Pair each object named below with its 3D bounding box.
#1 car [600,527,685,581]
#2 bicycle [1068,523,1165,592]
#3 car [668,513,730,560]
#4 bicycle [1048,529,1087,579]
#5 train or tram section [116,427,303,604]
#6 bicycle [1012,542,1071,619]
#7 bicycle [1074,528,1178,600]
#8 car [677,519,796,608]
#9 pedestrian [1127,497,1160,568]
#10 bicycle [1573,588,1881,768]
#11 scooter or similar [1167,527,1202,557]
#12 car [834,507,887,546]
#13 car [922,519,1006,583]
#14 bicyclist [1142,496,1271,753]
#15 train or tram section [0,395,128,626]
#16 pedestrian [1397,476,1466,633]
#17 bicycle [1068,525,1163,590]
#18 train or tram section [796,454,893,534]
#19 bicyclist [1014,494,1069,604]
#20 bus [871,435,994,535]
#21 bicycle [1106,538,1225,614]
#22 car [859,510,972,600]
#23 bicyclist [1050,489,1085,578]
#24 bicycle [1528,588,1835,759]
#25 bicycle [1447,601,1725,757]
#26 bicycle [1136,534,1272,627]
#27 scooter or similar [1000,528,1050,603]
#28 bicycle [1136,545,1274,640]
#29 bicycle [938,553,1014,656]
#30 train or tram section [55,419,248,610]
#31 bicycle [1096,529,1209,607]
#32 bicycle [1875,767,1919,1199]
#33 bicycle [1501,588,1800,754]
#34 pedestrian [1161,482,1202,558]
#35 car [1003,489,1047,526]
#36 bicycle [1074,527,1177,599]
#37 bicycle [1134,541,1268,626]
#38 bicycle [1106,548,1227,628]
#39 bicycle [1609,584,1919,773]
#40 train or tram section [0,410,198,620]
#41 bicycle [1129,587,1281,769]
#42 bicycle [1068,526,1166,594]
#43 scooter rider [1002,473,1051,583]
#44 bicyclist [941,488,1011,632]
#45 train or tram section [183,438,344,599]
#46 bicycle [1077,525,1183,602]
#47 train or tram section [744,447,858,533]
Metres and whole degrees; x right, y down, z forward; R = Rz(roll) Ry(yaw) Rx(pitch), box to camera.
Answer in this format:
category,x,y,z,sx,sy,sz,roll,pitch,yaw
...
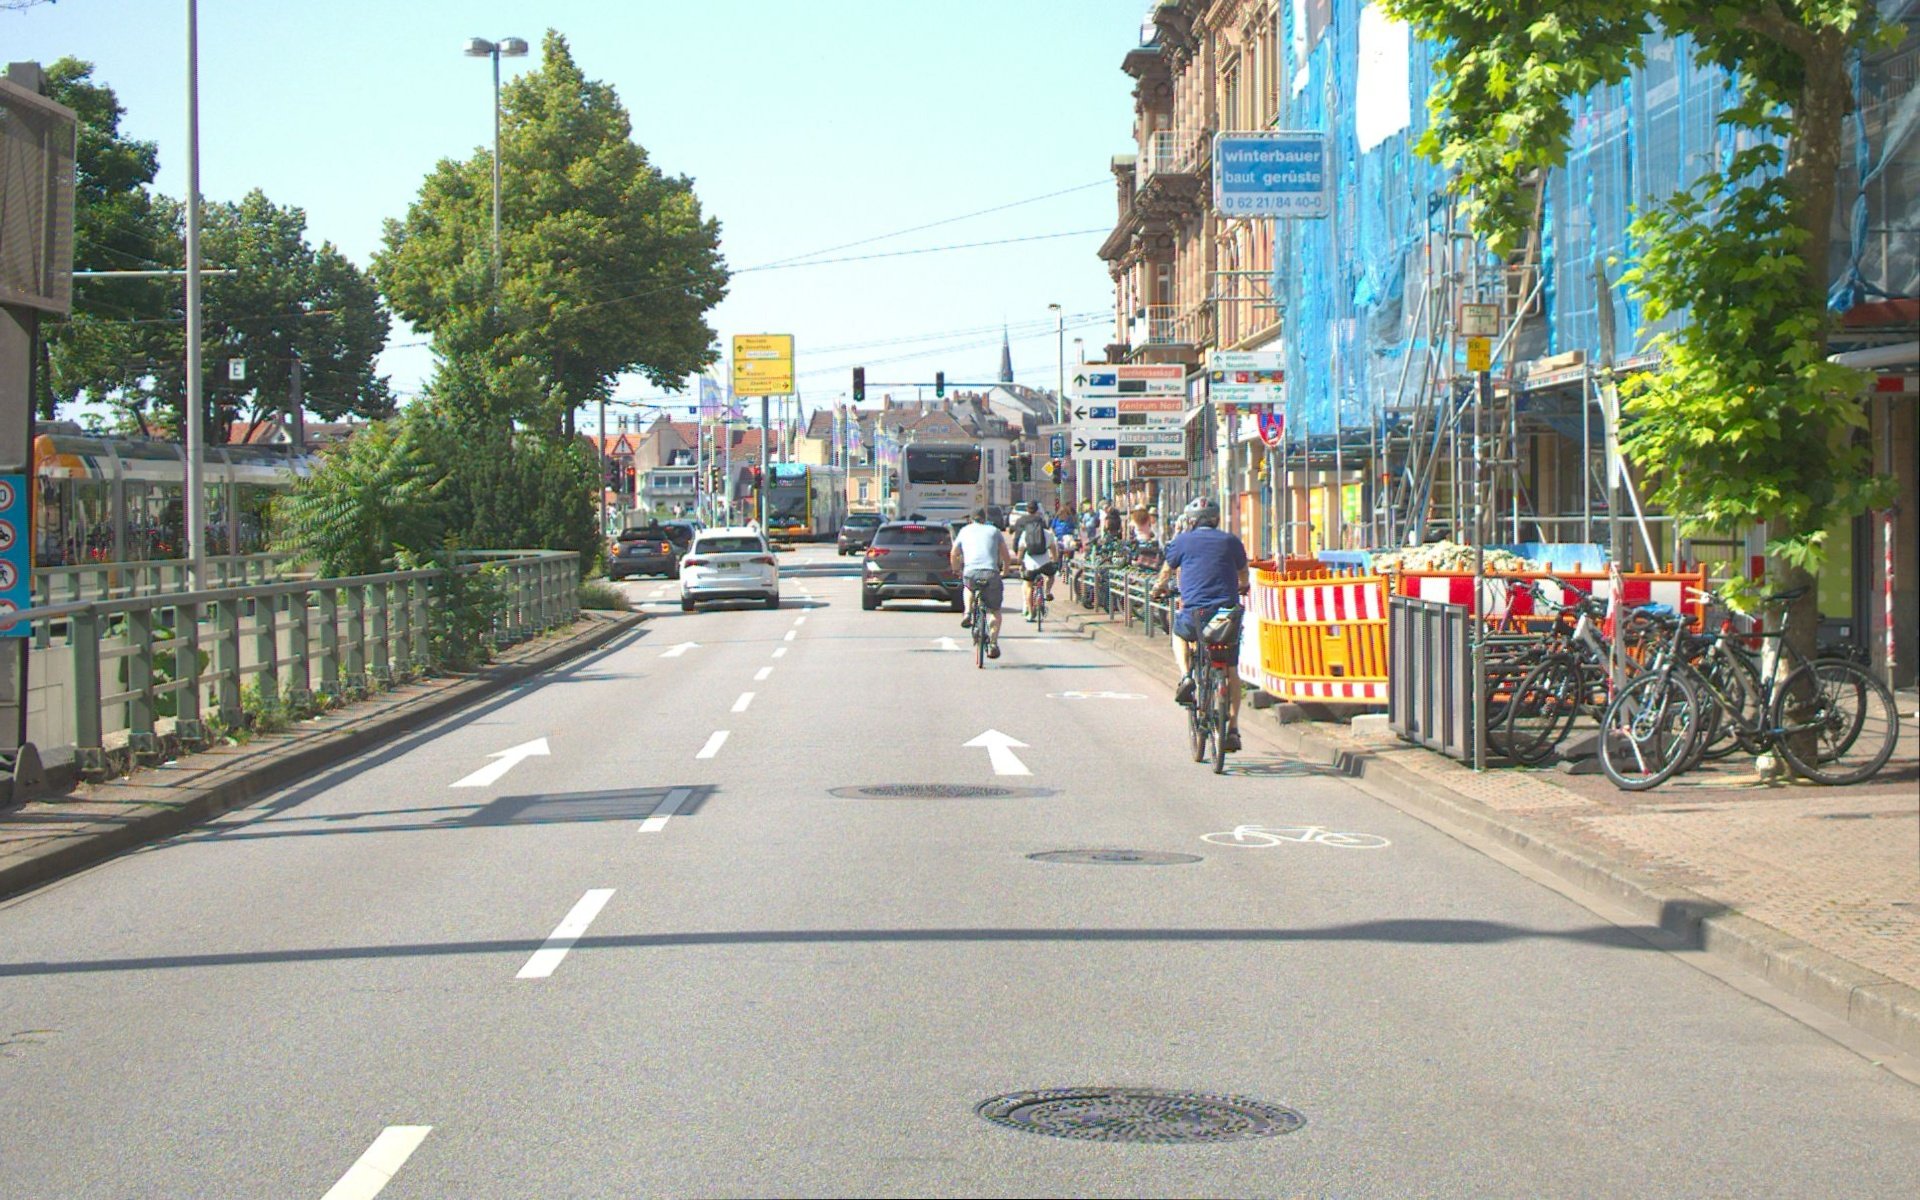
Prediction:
category,x,y,z,sx,sy,sz,roll,pitch,yaw
car,-8.208,-1.203,89.221,1.815,1.327,4.000,2,1,0
bicycle,2.830,-0.767,62.298,1.693,1.174,0.609,-2,2,0
car,-7.472,-1.816,98.649,1.451,1.296,4.000,2,1,0
bicycle,2.408,-1.029,76.973,0.734,1.089,1.898,2,1,-1
train or tram section,-16.152,-1.806,74.455,2.613,3.569,6.899,2,1,-1
bicycle,1.192,-0.300,50.345,0.734,1.089,1.898,2,1,-2
bicycle,2.767,-0.602,57.328,1.693,1.174,0.497,1,1,0
car,-4.022,-0.673,62.354,1.858,1.502,4.000,2,1,0
pedestrian,4.223,-1.553,79.128,0.654,1.615,0.815,-1,2,-3
bicycle,4.468,0.440,20.017,1.752,1.014,0.483,0,1,-20
scooter or similar,5.018,-1.298,77.013,0.691,0.648,0.565,-4,1,-2
car,-3.421,-2.525,118.248,1.452,1.296,3.341,2,1,4
car,0.083,-1.223,85.204,1.993,1.487,4.000,2,1,0
bicyclist,1.592,0.148,22.311,0.688,1.610,0.918,2,1,-2
train or tram section,-15.693,-1.474,56.495,2.613,3.569,6.104,2,1,-1
pedestrian,5.387,-0.522,39.310,0.639,1.770,0.649,2,1,-1
bicycle,2.836,-0.781,62.930,1.693,1.174,0.609,-1,2,0
train or tram section,-5.428,-4.957,162.771,2.824,3.569,8.222,2,1,10
bicyclist,1.183,-0.749,50.309,0.688,1.571,1.049,2,1,-3
bus,-0.890,-3.364,102.357,2.968,2.767,8.643,2,1,-5
bicycle,3.030,-0.354,50.792,1.693,1.083,0.608,1,1,0
car,-0.756,-0.807,60.060,1.873,1.487,4.000,-1,1,0
bicyclist,2.409,-1.490,77.016,0.688,1.955,0.778,2,1,-2
bicycle,4.363,0.443,20.832,1.752,1.014,0.483,0,1,-3
bicycle,4.159,0.520,22.879,1.752,1.014,0.483,0,1,-3
bicycle,3.149,-0.255,44.419,1.693,1.174,0.608,1,1,0
scooter or similar,1.026,-0.558,54.647,0.688,1.163,1.464,2,1,-2
bicycle,3.111,-0.094,43.740,1.693,1.174,0.608,1,1,0
bicycle,0.170,0.037,38.527,0.734,1.089,1.898,2,1,-3
train or tram section,-15.993,-1.672,68.318,2.613,3.569,5.357,2,1,-1
bicycle,2.965,-0.492,53.080,1.693,1.174,0.608,1,1,0
bicycle,2.178,0.895,5.542,0.734,1.089,2.131,2,1,-3
bicycle,4.289,0.439,21.389,1.752,1.014,0.483,0,1,-3
pedestrian,4.991,-1.803,77.542,0.755,1.650,0.837,-4,0,-2
car,3.405,-4.861,180.278,1.994,1.871,3.999,-1,1,5
bicycle,2.783,-0.620,57.922,1.693,1.174,0.491,1,1,0
bicycle,3.164,-0.221,45.259,1.693,1.093,0.608,1,1,0
bicycle,3.124,-0.192,52.101,1.771,1.174,0.608,1,1,0
bicycle,4.494,0.428,18.880,1.752,1.014,0.483,0,1,-3
train or tram section,-15.835,-1.539,62.582,2.613,3.569,6.104,2,1,-1
bicycle,1.573,0.483,22.355,0.734,1.089,1.911,2,1,-3
bicycle,2.791,-0.717,61.047,1.693,1.174,0.470,1,1,-1
scooter rider,1.060,-1.143,54.675,0.688,1.723,0.778,2,1,-2
bicyclist,0.178,-0.453,38.520,0.688,1.571,1.049,2,1,-3
train or tram section,-16.334,-1.898,80.918,2.613,3.569,6.018,2,1,-1
bicycle,2.792,-0.606,56.664,1.693,1.236,0.608,1,1,0
train or tram section,-7.033,-4.850,153.803,2.824,3.569,10.028,2,1,10
